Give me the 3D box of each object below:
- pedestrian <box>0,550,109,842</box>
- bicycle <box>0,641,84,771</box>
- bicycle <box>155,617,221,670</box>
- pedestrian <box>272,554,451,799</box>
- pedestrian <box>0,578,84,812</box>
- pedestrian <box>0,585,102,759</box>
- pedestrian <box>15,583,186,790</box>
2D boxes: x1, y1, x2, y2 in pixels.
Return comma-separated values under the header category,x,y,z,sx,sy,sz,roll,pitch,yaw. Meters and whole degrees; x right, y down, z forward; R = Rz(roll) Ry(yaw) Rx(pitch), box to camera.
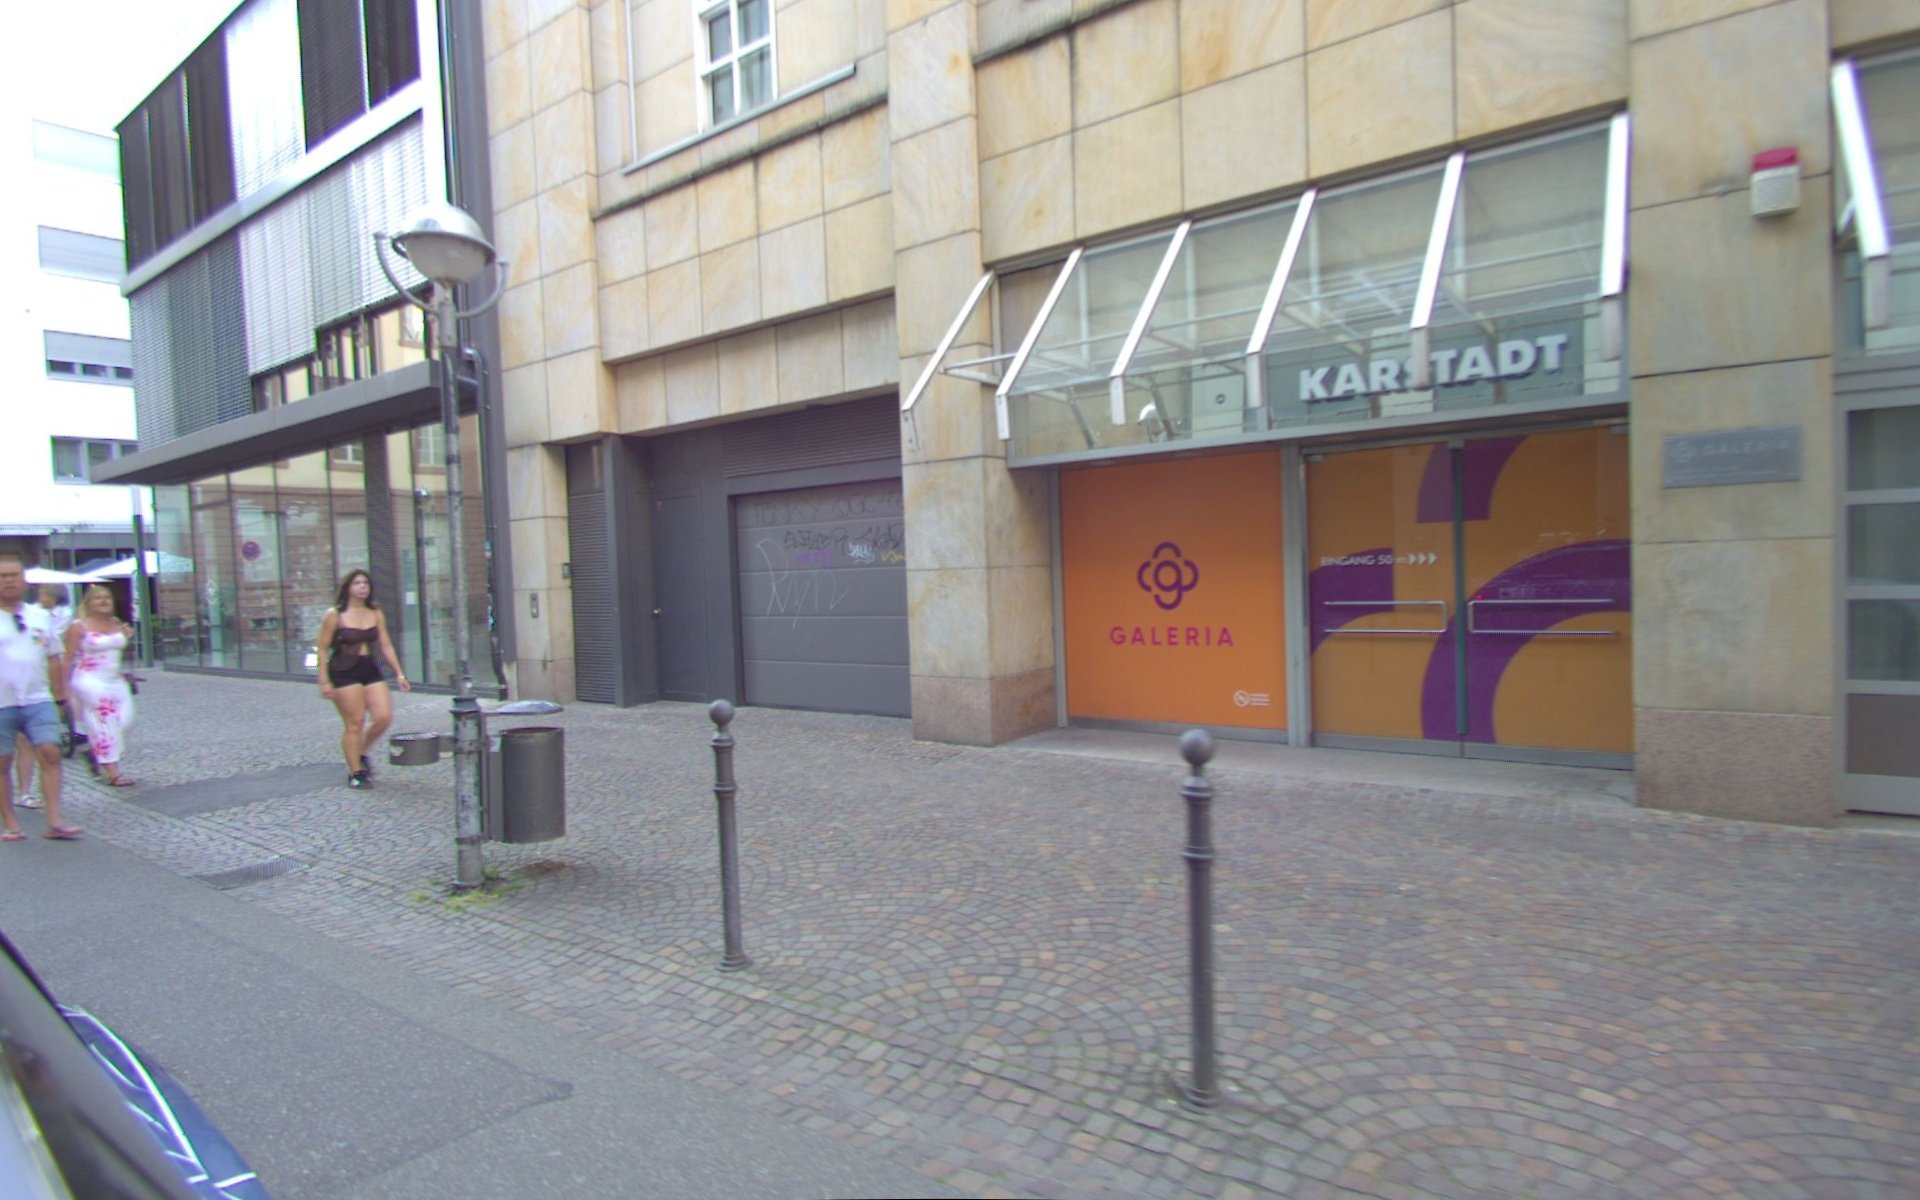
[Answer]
category,x,y,z,sx,sy,sz,roll,pitch,yaw
pedestrian,-6.331,0.606,6.755,0.876,1.836,0.736,-1,1,35
bicycle,-9.587,1.028,10.315,1.911,1.162,0.528,-1,3,37
bicycle,-17.701,0.997,23.203,1.670,1.121,0.701,-3,0,35
pedestrian,-4.738,0.562,8.030,0.967,1.808,0.780,-2,1,28
pedestrian,-7.622,0.725,7.829,0.939,1.742,0.806,-2,1,12
pedestrian,-9.762,0.739,10.687,0.584,1.731,0.769,-3,3,5
pedestrian,-7.347,0.718,8.673,0.851,1.677,0.674,-2,1,12
